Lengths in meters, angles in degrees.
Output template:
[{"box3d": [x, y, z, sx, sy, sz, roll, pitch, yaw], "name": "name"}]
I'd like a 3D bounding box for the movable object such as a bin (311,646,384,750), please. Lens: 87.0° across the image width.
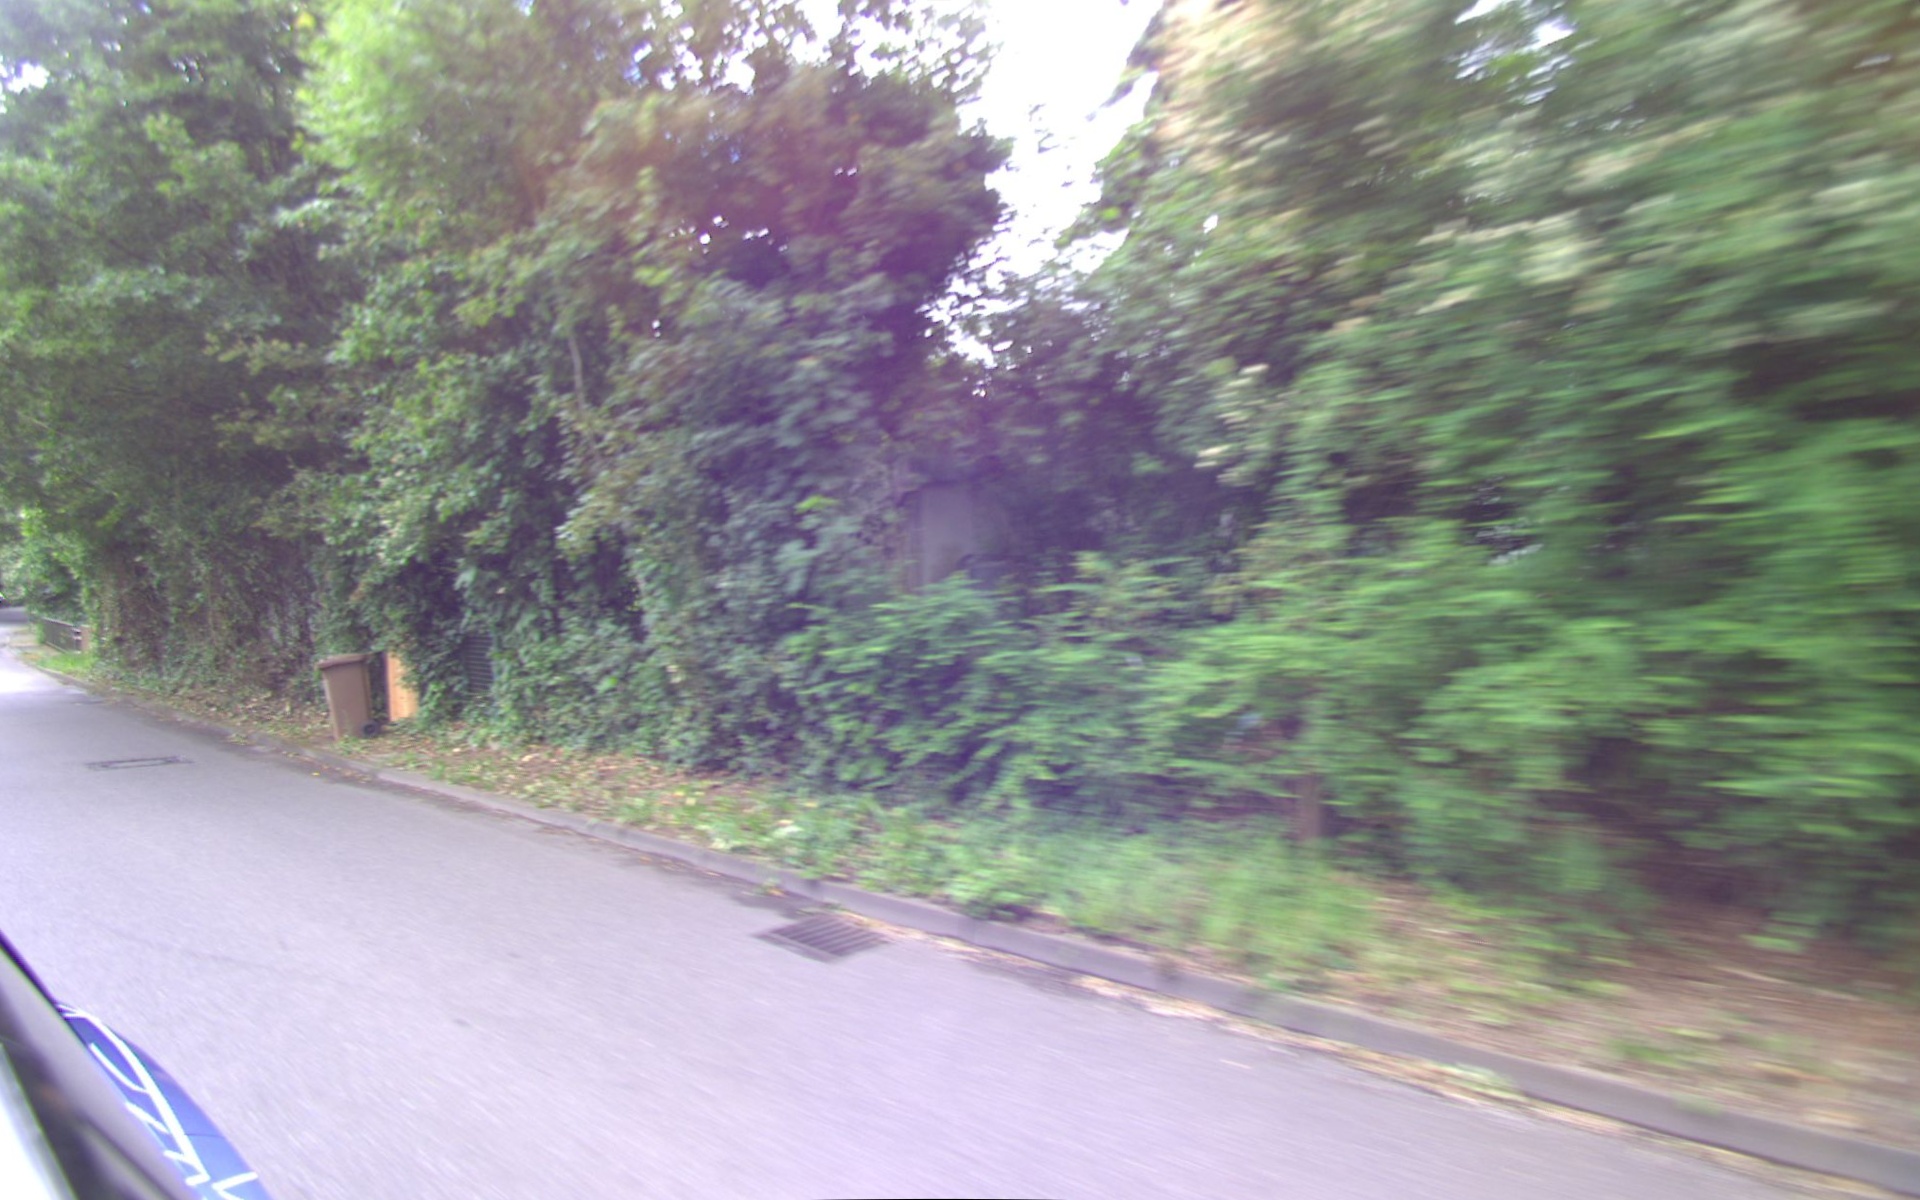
[{"box3d": [-6.506, 1.013, 10.741, 0.640, 1.020, 0.633, 0, 0, -34], "name": "movable object such as a bin"}]
